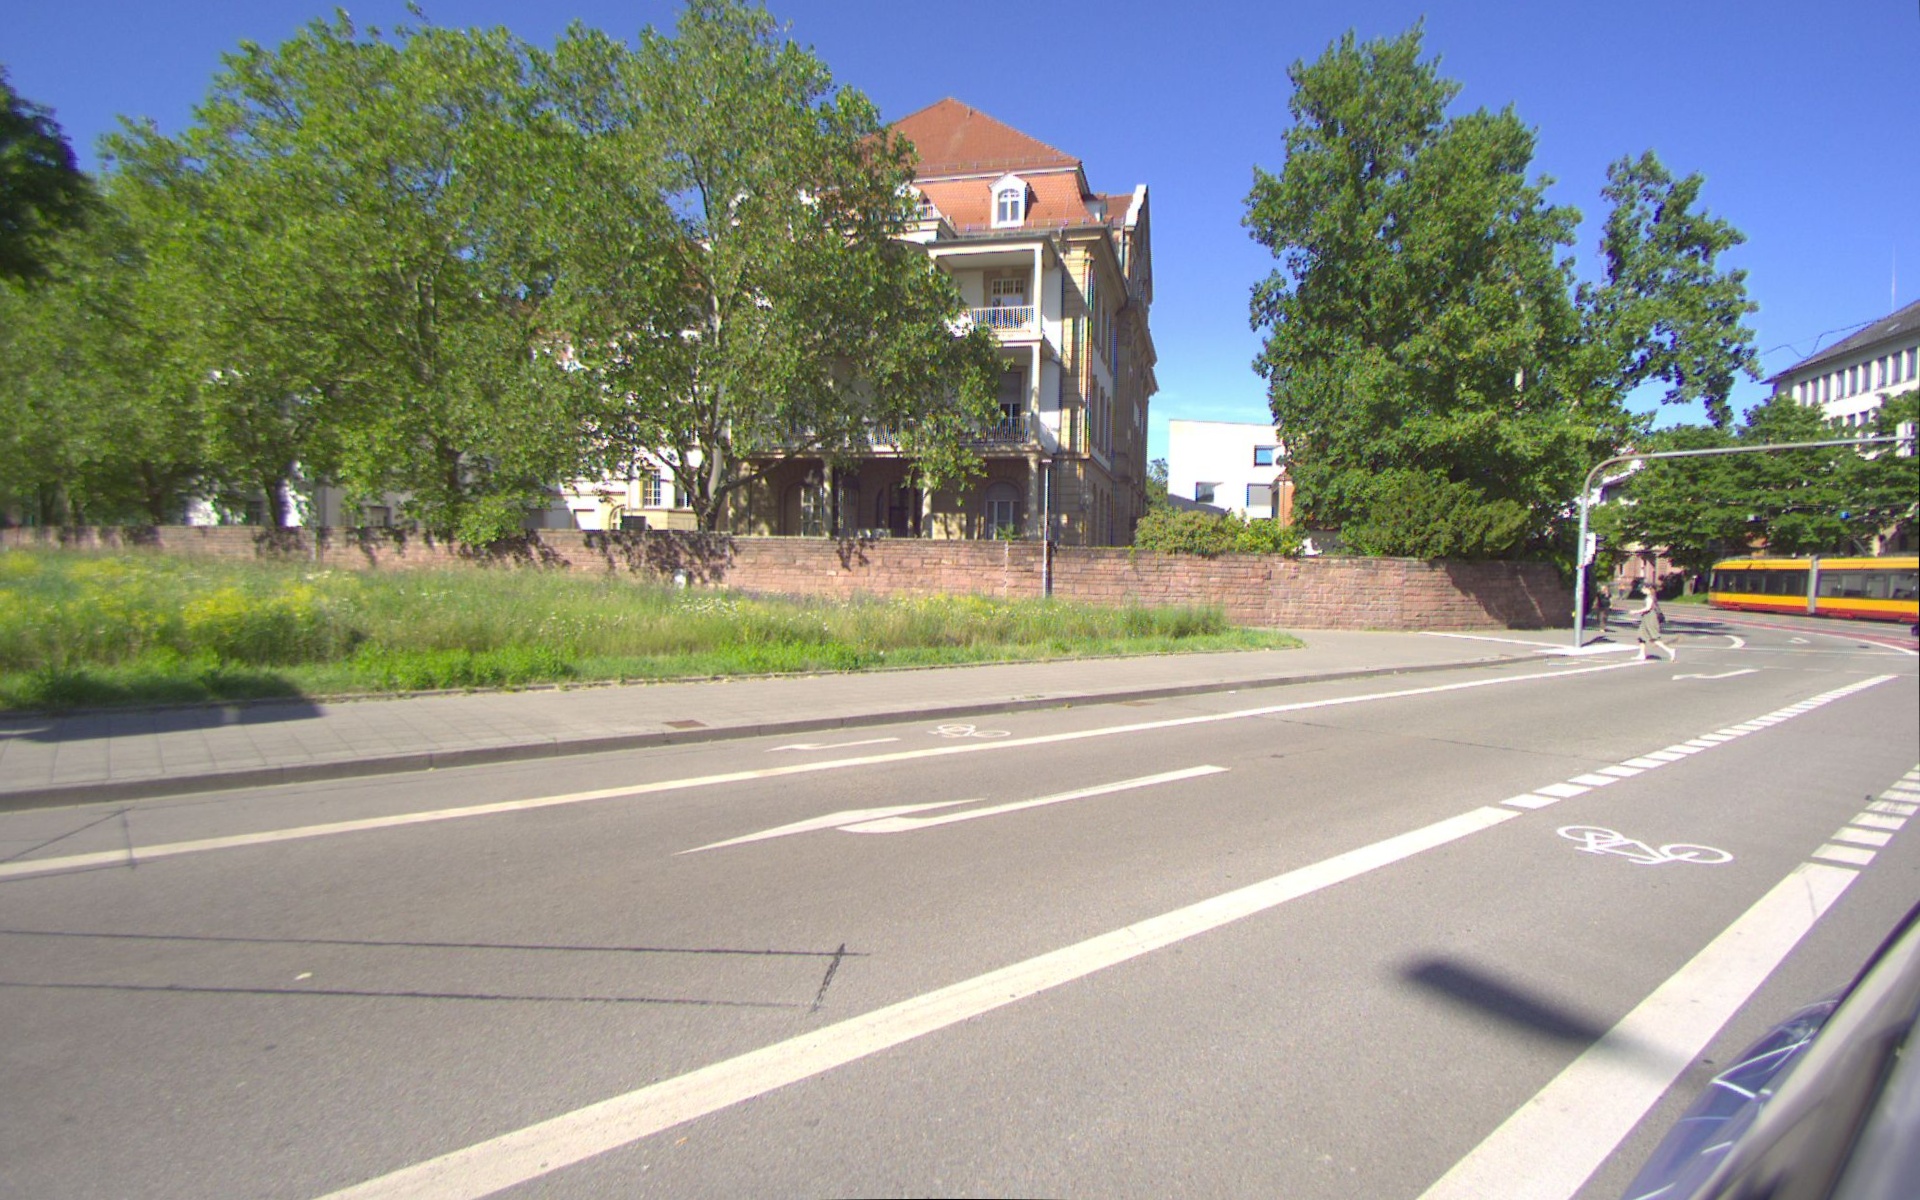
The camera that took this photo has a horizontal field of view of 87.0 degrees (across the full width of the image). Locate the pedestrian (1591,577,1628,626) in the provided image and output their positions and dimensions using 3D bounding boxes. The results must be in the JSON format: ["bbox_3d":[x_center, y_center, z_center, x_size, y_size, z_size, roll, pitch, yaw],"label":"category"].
[{"bbox_3d":[23.145,0.041,36.067,0.618,1.687,0.933,0,2,-35],"label":"pedestrian"}]

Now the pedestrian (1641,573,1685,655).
[{"bbox_3d":[16.579,0.314,23.883,0.623,1.881,0.782,2,1,20],"label":"pedestrian"}]

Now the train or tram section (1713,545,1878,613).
[{"bbox_3d":[50.786,-1.370,62.095,2.898,3.728,11.630,2,2,14],"label":"train or tram section"}]

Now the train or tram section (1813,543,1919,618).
[{"bbox_3d":[47.957,-0.963,50.766,2.898,3.563,11.630,2,2,14],"label":"train or tram section"}]
